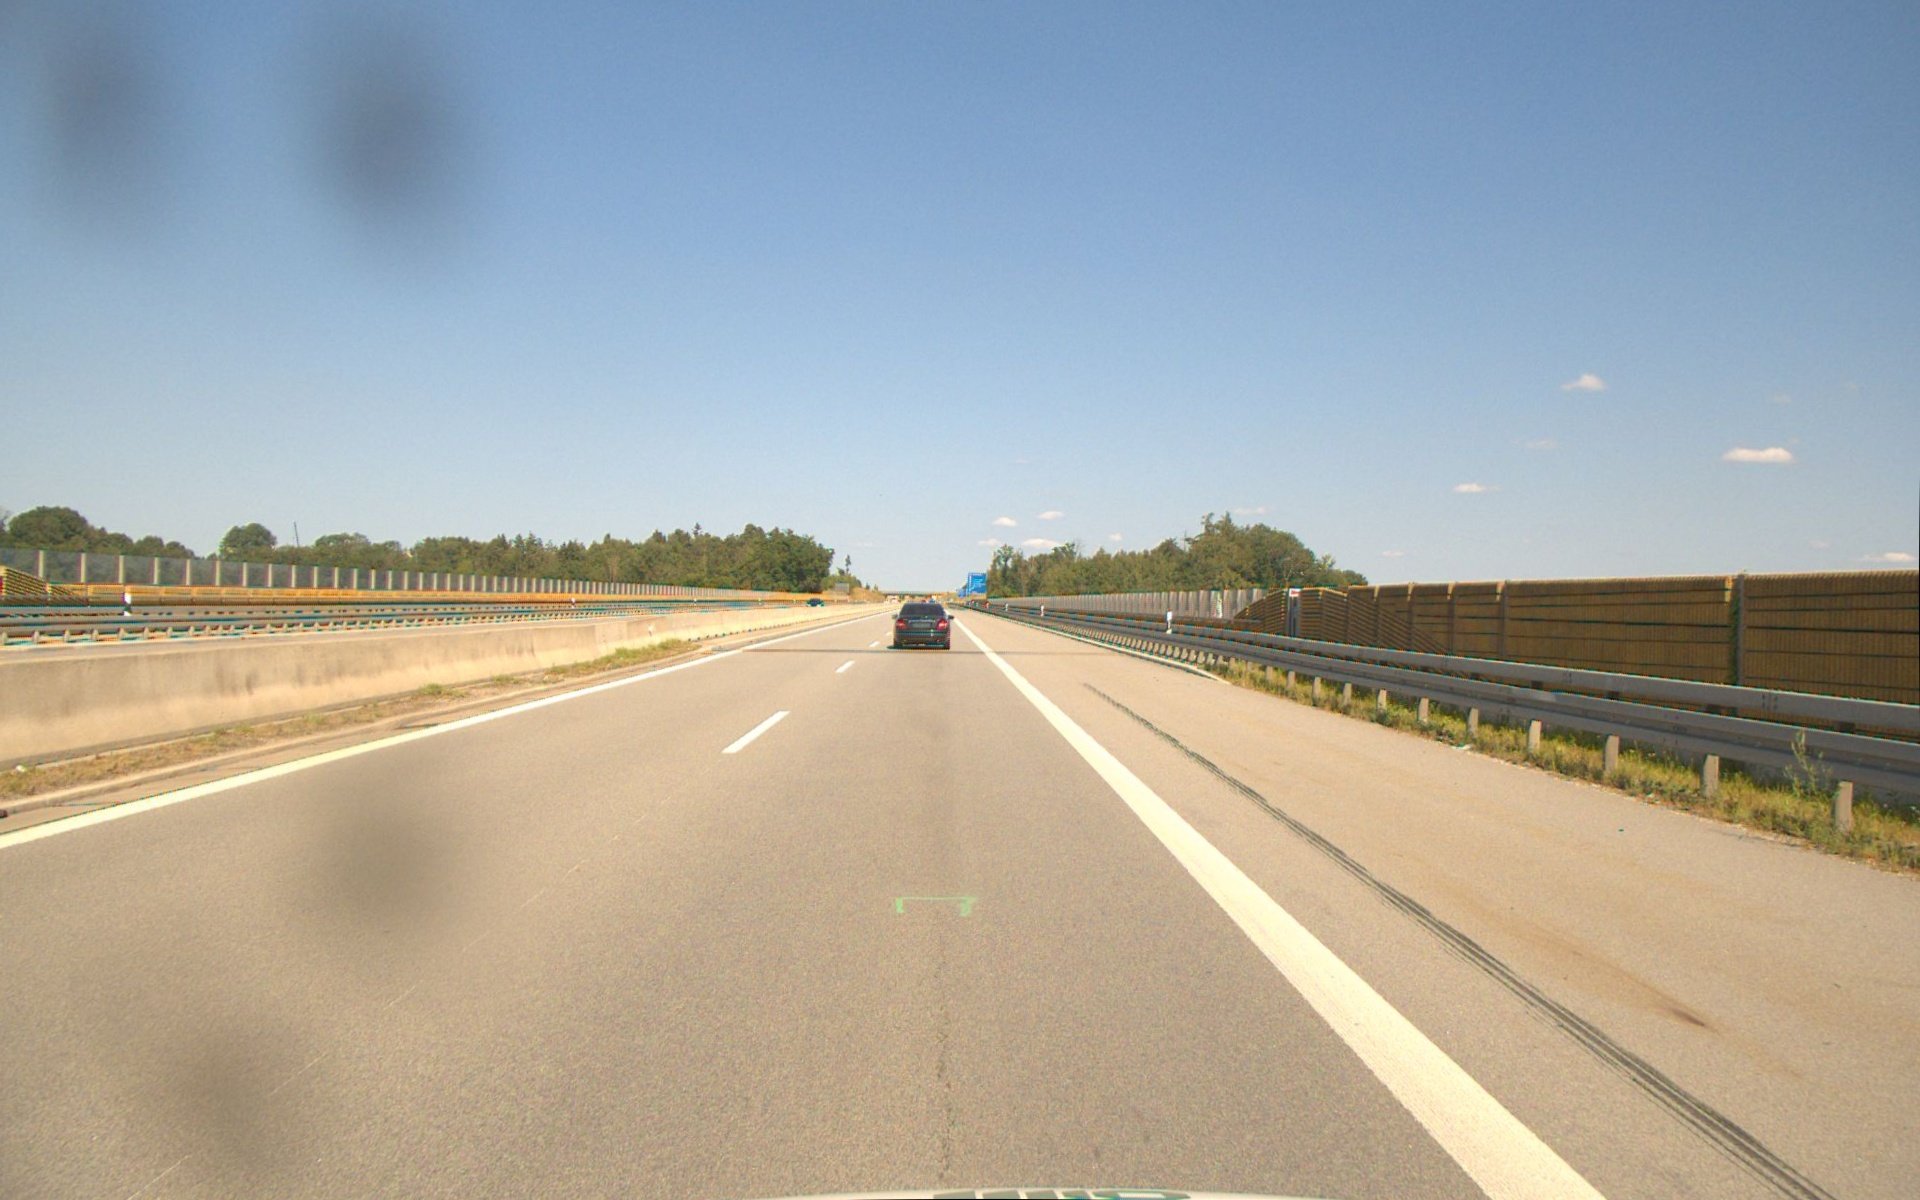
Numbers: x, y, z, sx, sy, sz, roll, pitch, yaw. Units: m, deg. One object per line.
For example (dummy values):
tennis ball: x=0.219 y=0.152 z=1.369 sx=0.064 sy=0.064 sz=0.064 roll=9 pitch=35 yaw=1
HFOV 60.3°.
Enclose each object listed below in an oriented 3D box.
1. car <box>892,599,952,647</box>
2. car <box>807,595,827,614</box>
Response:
car: x=-1.131 y=0.668 z=50.863 sx=1.753 sy=1.398 sz=3.916 roll=1 pitch=0 yaw=-1
car: x=-16.615 y=0.528 z=192.481 sx=1.952 sy=2.049 sz=4.761 roll=1 pitch=0 yaw=0
